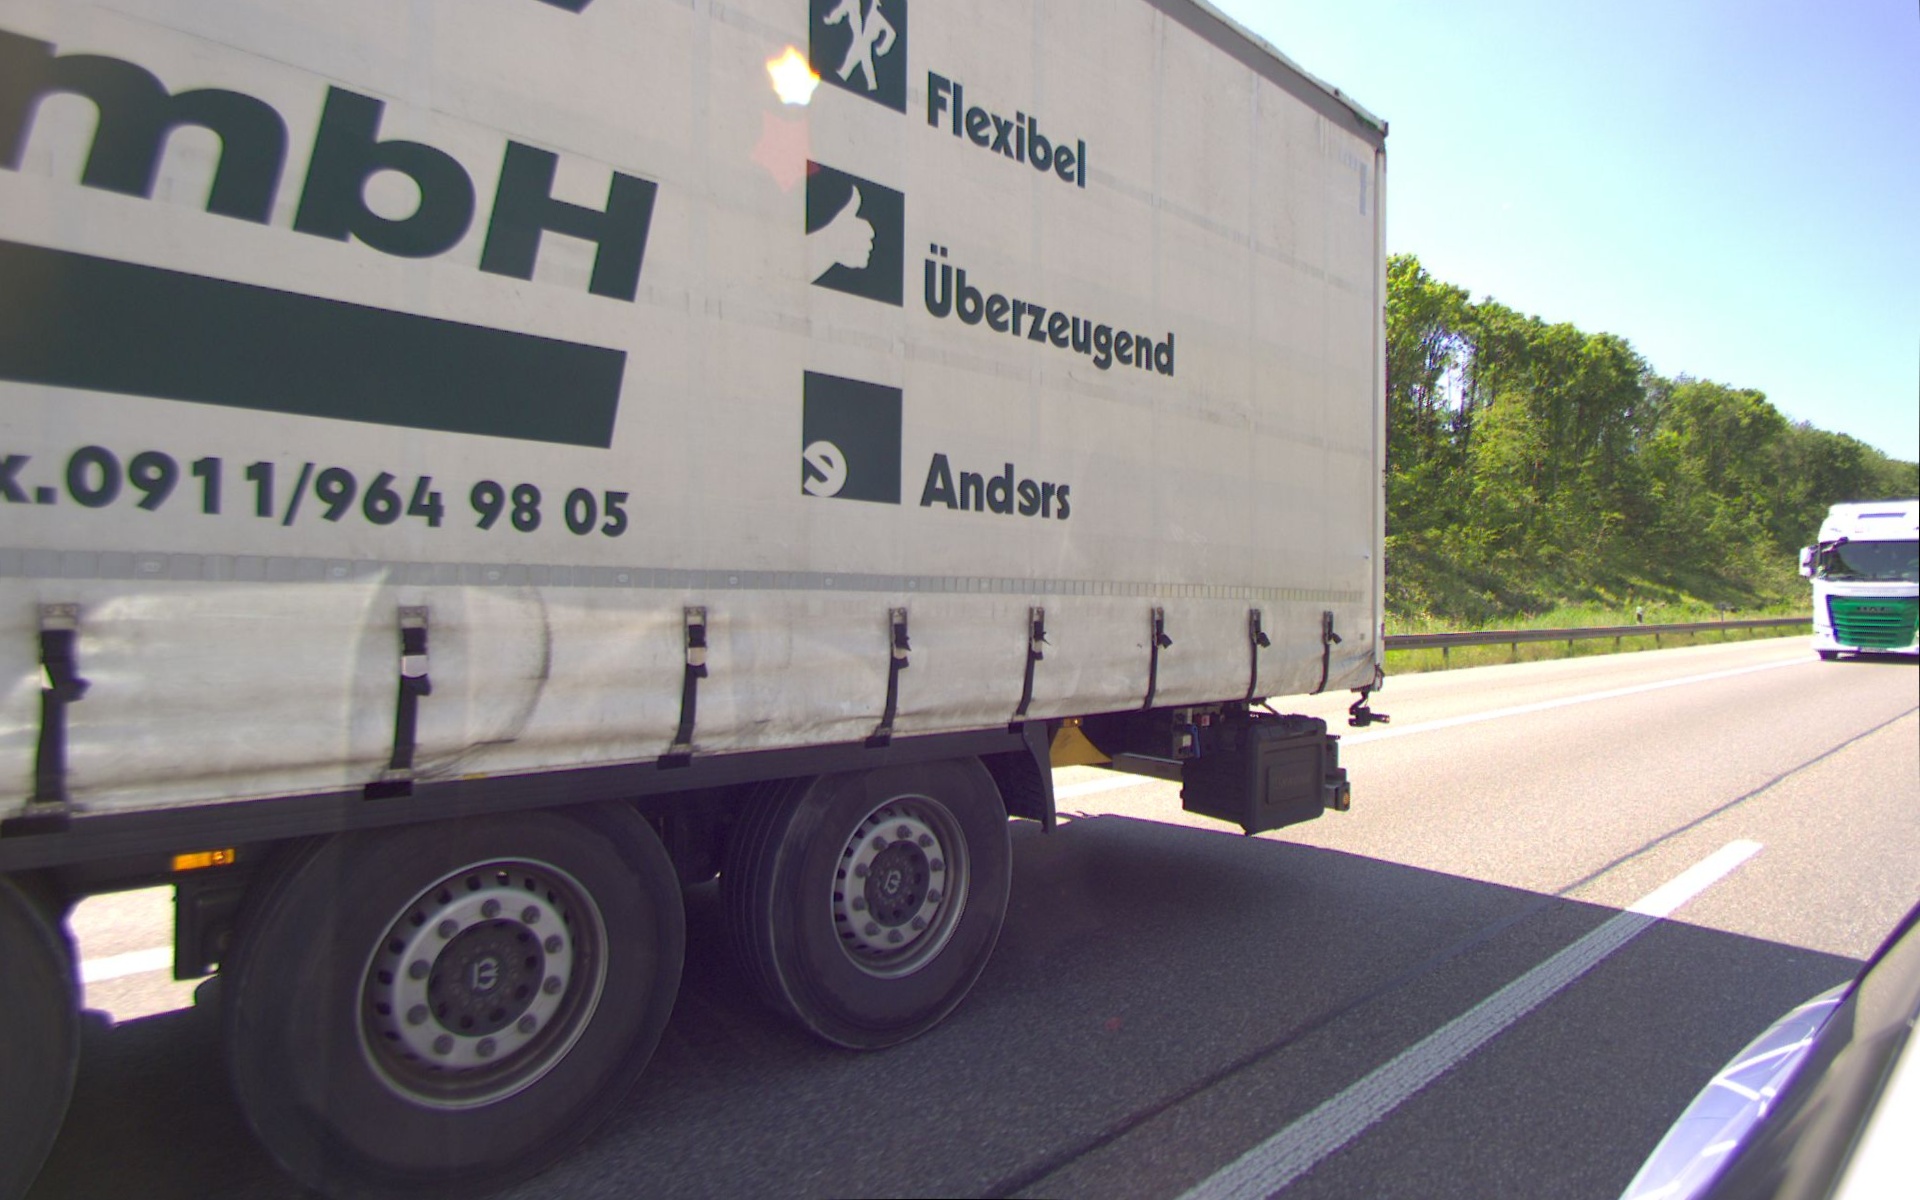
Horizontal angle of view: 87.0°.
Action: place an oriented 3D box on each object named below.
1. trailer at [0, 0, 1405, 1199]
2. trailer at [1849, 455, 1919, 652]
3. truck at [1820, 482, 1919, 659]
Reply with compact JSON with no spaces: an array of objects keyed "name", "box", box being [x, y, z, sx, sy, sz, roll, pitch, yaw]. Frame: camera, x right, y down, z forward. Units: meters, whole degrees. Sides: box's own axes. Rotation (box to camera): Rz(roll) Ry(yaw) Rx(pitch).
[{"name":"trailer","box":[-3.625,-0.677,1.892,13.007,4.259,2.791,1,-1,-40]},{"name":"trailer","box":[30.565,-1.305,31.219,15.003,5.103,2.572,-1,1,-40]},{"name":"truck","box":[24.308,-0.725,25.896,6.509,4.080,2.540,-1,1,-41]}]
